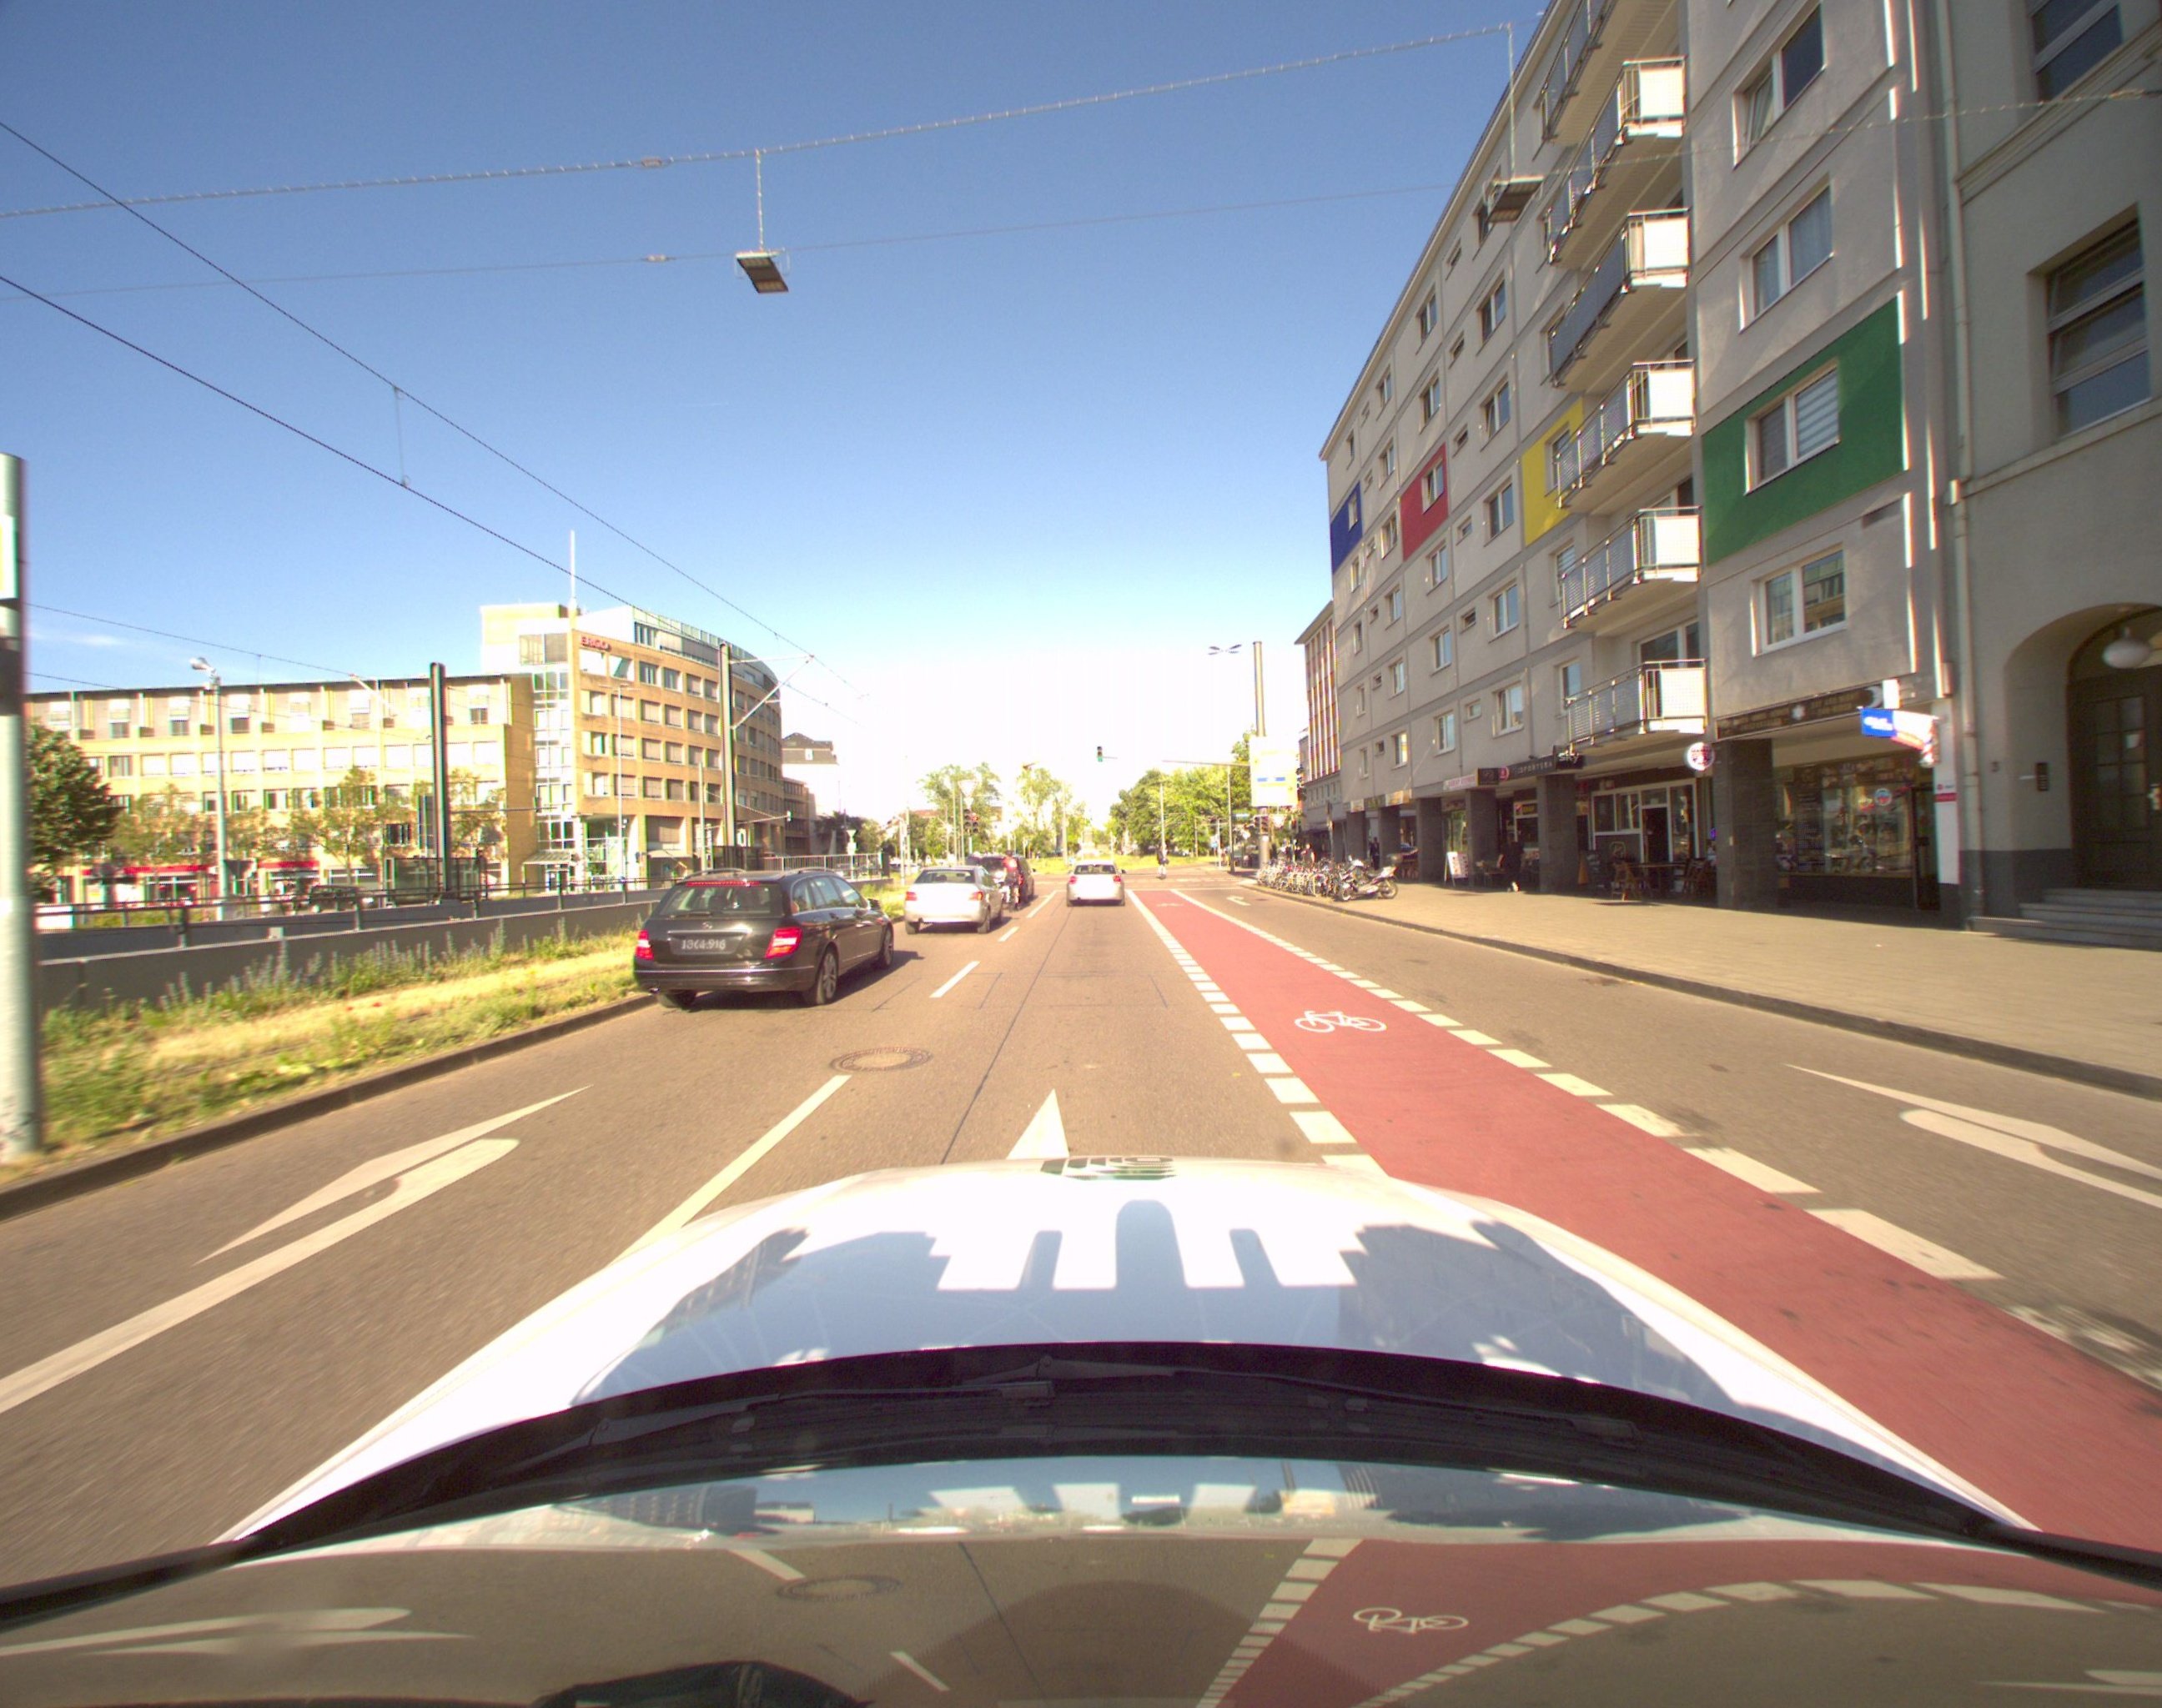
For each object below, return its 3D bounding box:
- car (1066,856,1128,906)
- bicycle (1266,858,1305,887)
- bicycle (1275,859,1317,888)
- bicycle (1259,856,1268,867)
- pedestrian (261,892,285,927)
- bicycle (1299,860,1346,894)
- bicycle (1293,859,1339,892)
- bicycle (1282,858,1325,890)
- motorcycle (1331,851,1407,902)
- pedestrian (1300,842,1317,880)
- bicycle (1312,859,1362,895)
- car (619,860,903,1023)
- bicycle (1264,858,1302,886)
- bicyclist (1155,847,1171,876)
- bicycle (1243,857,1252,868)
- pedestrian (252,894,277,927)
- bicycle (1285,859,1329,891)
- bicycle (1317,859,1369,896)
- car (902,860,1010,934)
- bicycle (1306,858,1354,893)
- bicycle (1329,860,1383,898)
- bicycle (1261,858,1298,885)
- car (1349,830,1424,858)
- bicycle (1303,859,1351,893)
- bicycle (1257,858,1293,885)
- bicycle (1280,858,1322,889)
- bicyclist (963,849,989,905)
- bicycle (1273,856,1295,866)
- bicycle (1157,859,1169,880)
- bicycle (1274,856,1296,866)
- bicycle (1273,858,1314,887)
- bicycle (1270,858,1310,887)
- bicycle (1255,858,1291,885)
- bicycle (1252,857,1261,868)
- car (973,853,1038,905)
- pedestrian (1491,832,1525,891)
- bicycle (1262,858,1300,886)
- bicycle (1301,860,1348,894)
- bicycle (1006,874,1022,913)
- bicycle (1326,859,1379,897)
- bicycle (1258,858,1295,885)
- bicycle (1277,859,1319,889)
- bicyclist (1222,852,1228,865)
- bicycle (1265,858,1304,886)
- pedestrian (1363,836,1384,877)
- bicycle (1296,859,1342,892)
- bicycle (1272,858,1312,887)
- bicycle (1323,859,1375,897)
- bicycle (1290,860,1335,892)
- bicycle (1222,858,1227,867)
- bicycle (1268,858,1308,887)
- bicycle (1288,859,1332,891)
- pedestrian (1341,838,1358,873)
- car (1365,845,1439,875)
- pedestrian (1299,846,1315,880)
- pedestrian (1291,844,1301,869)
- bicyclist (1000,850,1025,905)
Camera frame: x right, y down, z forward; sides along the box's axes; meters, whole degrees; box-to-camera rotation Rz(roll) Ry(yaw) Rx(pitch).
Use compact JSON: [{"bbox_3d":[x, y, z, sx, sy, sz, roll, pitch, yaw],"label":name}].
[{"bbox_3d":[0.543,0.808,26.066,1.791,1.415,4.002,-2,0,2],"label":"car"},{"bbox_3d":[8.227,0.742,32.765,1.459,1.067,0.257,-3,-1,3],"label":"bicycle"},{"bbox_3d":[8.225,0.743,31.177,1.459,1.067,0.257,-3,-1,3],"label":"bicycle"},{"bbox_3d":[17.071,0.735,76.195,0.415,1.008,1.945,0,0,1],"label":"bicycle"},{"bbox_3d":[-35.829,2.453,36.119,0.441,1.531,0.568,0,-1,1],"label":"pedestrian"},{"bbox_3d":[8.231,0.786,27.770,1.459,1.067,0.257,-3,-1,3],"label":"bicycle"},{"bbox_3d":[8.231,0.743,28.519,1.459,1.067,0.257,-3,-1,3],"label":"bicycle"},{"bbox_3d":[8.175,0.735,29.978,1.459,1.067,0.257,-3,-1,3],"label":"bicycle"},{"bbox_3d":[8.092,0.632,22.897,1.846,1.301,0.653,-3,-1,4],"label":"motorcycle"},{"bbox_3d":[12.075,0.385,43.239,0.786,2.014,0.872,0,-1,8],"label":"pedestrian"},{"bbox_3d":[8.149,0.724,25.905,1.459,1.067,0.257,-3,-1,3],"label":"bicycle"},{"bbox_3d":[-3.480,0.832,9.843,1.721,1.470,4.408,-1,0,-1],"label":"car"},{"bbox_3d":[8.289,0.745,33.447,1.459,1.067,0.257,-3,-1,3],"label":"bicycle"},{"bbox_3d":[4.466,0.417,44.466,0.782,1.531,0.895,0,-1,1],"label":"bicyclist"},{"bbox_3d":[15.664,0.773,76.607,0.415,1.008,1.945,0,0,1],"label":"bicycle"},{"bbox_3d":[-36.510,2.509,36.423,0.610,1.428,0.490,0,-1,1],"label":"pedestrian"},{"bbox_3d":[8.208,0.762,29.549,1.459,1.067,0.257,-3,-1,3],"label":"bicycle"},{"bbox_3d":[8.210,0.731,25.534,1.459,1.067,0.257,-3,-1,3],"label":"bicycle"},{"bbox_3d":[-2.626,0.853,17.898,1.638,1.421,4.001,-1,0,1],"label":"car"},{"bbox_3d":[8.151,0.708,26.694,1.459,1.067,0.257,-3,-1,3],"label":"bicycle"},{"bbox_3d":[8.204,0.736,24.283,1.459,1.067,0.257,-3,-1,3],"label":"bicycle"},{"bbox_3d":[8.316,0.747,34.151,1.459,1.067,0.257,-3,-1,3],"label":"bicycle"},{"bbox_3d":[22.206,-0.705,59.355,4.710,2.014,2.260,0,-1,2],"label":"car"},{"bbox_3d":[8.183,0.734,27.105,1.459,1.067,0.257,-3,-1,3],"label":"bicycle"},{"bbox_3d":[8.306,0.741,34.867,1.459,1.067,0.257,-3,-1,3],"label":"bicycle"},{"bbox_3d":[8.180,0.737,30.320,1.459,1.067,0.257,-3,-1,3],"label":"bicycle"},{"bbox_3d":[-3.036,0.654,23.537,0.614,1.572,0.687,0,-1,2],"label":"bicyclist"},{"bbox_3d":[22.707,0.773,91.198,2.297,1.068,0.559,0,-1,24],"label":"bicycle"},{"bbox_3d":[4.456,0.830,44.446,0.497,1.088,1.997,0,0,1],"label":"bicycle"},{"bbox_3d":[23.004,0.813,91.855,2.297,1.068,0.559,0,-1,24],"label":"bicycle"},{"bbox_3d":[8.229,0.719,31.492,1.459,1.067,0.257,-3,-1,3],"label":"bicycle"},{"bbox_3d":[8.236,0.737,32.134,1.459,1.067,0.257,-3,-1,3],"label":"bicycle"},{"bbox_3d":[8.310,0.750,35.274,1.459,1.067,0.257,-3,-1,3],"label":"bicycle"},{"bbox_3d":[16.402,0.759,76.053,0.415,1.008,1.945,0,0,1],"label":"bicycle"},{"bbox_3d":[-2.527,0.798,27.959,1.698,1.622,4.001,-2,0,1],"label":"car"},{"bbox_3d":[11.767,0.214,22.462,0.553,1.582,0.575,-4,-1,1],"label":"pedestrian"},{"bbox_3d":[8.303,0.753,33.801,1.459,1.067,0.257,-3,-1,3],"label":"bicycle"},{"bbox_3d":[8.198,0.763,27.449,1.459,1.067,0.257,-3,-1,3],"label":"bicycle"},{"bbox_3d":[-1.954,1.121,23.608,0.338,1.057,1.773,0,0,-8],"label":"bicycle"},{"bbox_3d":[8.221,0.720,24.654,1.459,1.067,0.257,-3,-1,3],"label":"bicycle"},{"bbox_3d":[8.297,0.751,34.518,1.459,1.067,0.257,-3,-1,3],"label":"bicycle"},{"bbox_3d":[8.211,0.758,30.860,1.459,1.067,0.257,-3,-1,3],"label":"bicycle"},{"bbox_3d":[15.424,0.467,87.288,0.614,1.380,0.687,0,-1,2],"label":"bicyclist"},{"bbox_3d":[8.257,0.736,33.086,1.459,1.067,0.257,-3,-1,3],"label":"bicycle"},{"bbox_3d":[14.434,0.128,40.197,0.838,2.014,0.892,0,-1,10],"label":"pedestrian"},{"bbox_3d":[8.232,0.746,28.150,1.459,1.067,0.257,-3,-1,3],"label":"bicycle"},{"bbox_3d":[8.247,0.730,31.814,1.459,1.067,0.257,-3,-1,3],"label":"bicycle"},{"bbox_3d":[8.235,0.735,25.033,1.459,1.067,0.257,-3,-1,3],"label":"bicycle"},{"bbox_3d":[8.201,0.766,28.839,1.459,1.067,0.257,-3,-1,3],"label":"bicycle"},{"bbox_3d":[15.346,0.920,87.188,0.350,0.958,1.574,0,0,3],"label":"bicycle"},{"bbox_3d":[8.249,0.735,32.457,1.459,1.067,0.257,-3,-1,3],"label":"bicycle"},{"bbox_3d":[8.203,0.754,29.206,1.459,1.067,0.257,-3,-1,3],"label":"bicycle"},{"bbox_3d":[15.483,0.091,46.922,0.870,2.014,0.916,0,-1,16],"label":"pedestrian"},{"bbox_3d":[21.990,0.411,55.960,4.344,2.014,1.974,0,-1,2],"label":"car"},{"bbox_3d":[12.572,0.493,45.300,0.819,1.856,0.921,0,-1,16],"label":"pedestrian"},{"bbox_3d":[17.061,0.212,64.636,0.704,1.919,0.705,0,-1,5],"label":"pedestrian"},{"bbox_3d":[-2.004,0.674,23.649,0.616,1.571,0.684,-2,0,-10],"label":"bicyclist"}]
